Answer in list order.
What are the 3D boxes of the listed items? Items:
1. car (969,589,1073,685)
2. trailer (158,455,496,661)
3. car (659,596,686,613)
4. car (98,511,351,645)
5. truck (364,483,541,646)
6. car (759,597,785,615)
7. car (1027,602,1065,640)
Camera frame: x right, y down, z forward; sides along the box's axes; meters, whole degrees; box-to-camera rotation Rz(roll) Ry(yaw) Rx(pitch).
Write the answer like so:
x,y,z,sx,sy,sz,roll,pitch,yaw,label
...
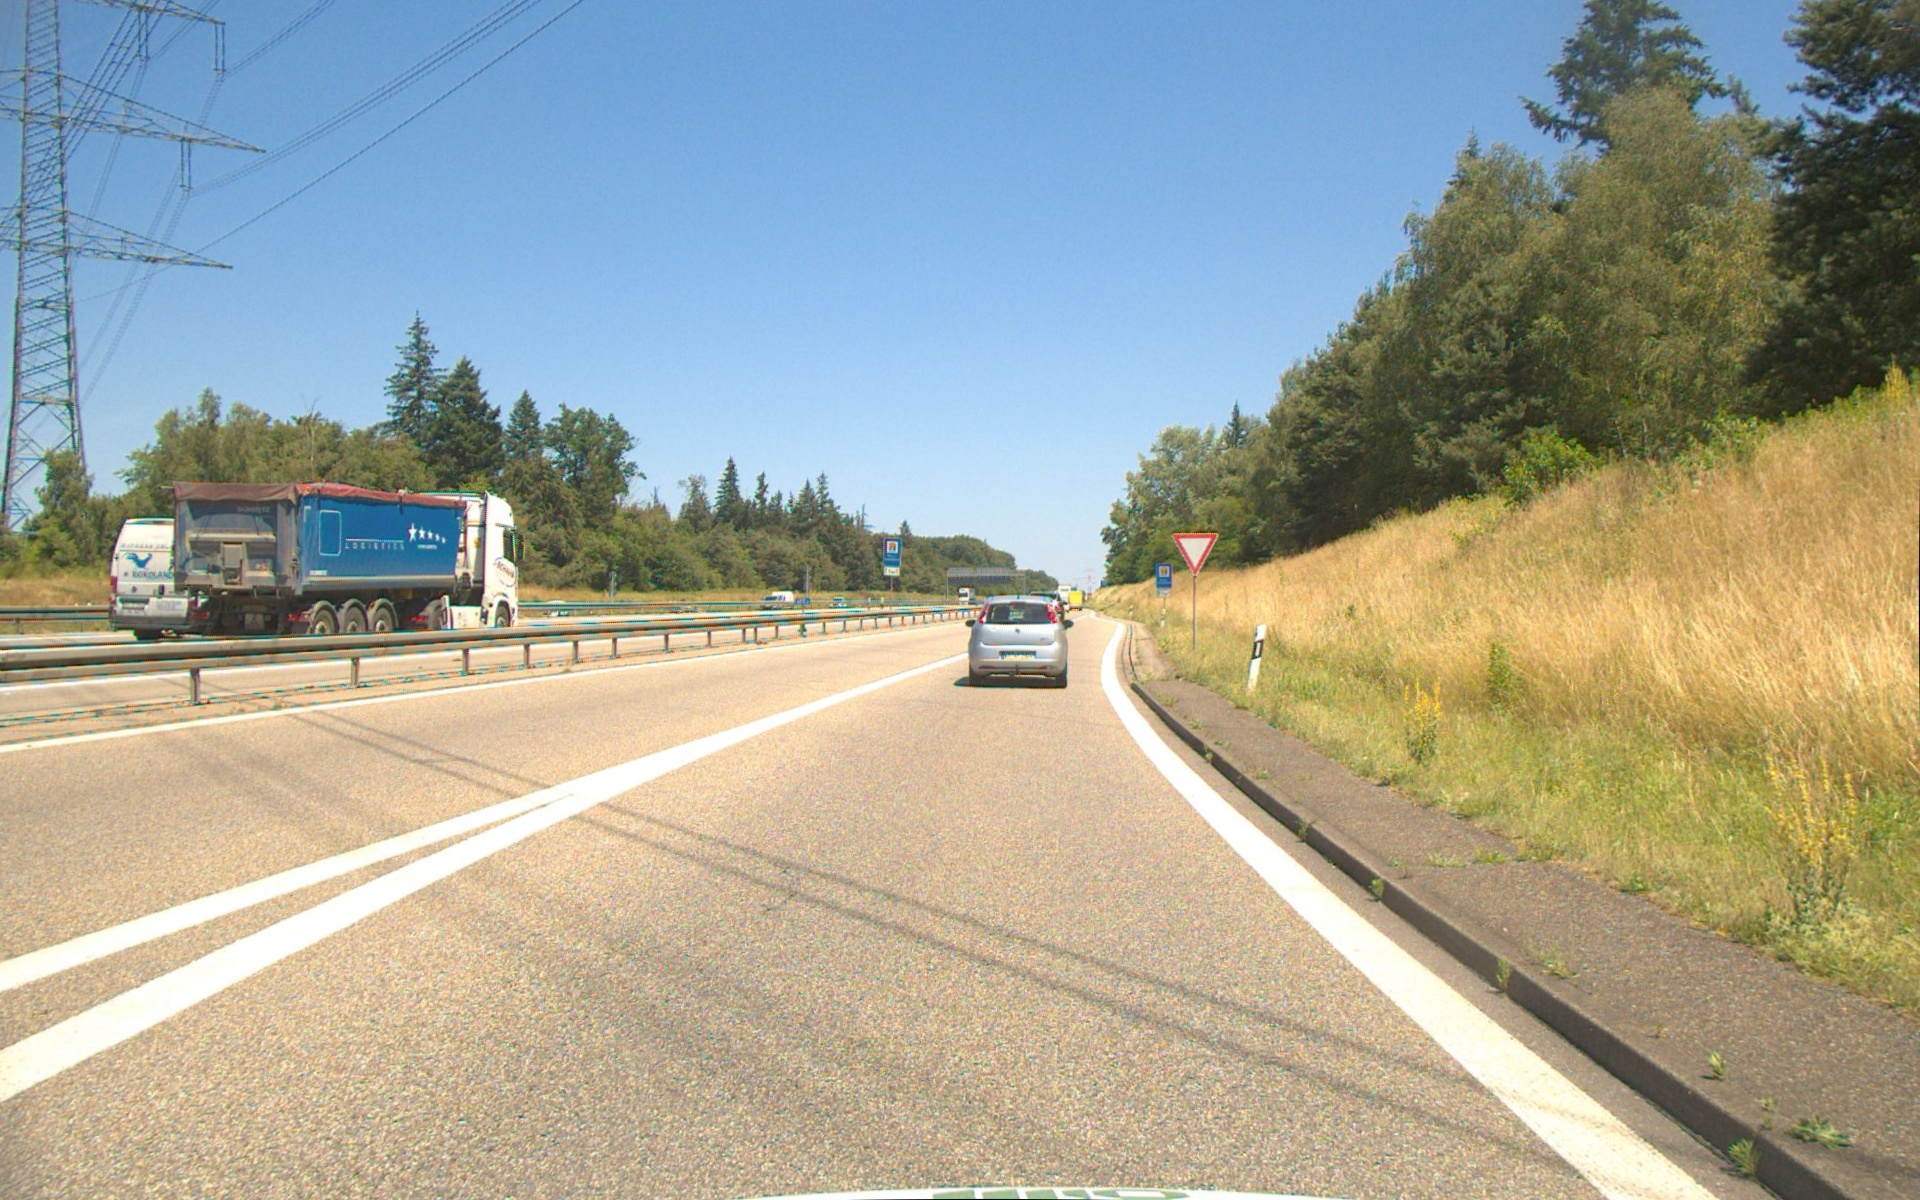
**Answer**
x,y,z,sx,sy,sz,roll,pitch,yaw,label
1.078,0.577,28.233,1.670,1.507,3.399,0,1,3,car
-13.299,-0.839,36.027,2.712,3.874,9.892,0,0,6,trailer
-32.617,0.523,187.911,1.951,1.814,4.003,0,-1,7,car
-17.146,-0.410,39.156,2.191,2.882,7.058,0,-1,6,car
-12.732,-0.891,41.840,2.698,3.873,4.625,0,1,6,truck
-19.574,0.652,172.039,1.951,1.814,4.002,0,-1,4,car
3.923,0.968,75.409,1.670,1.706,3.398,0,-1,3,car
